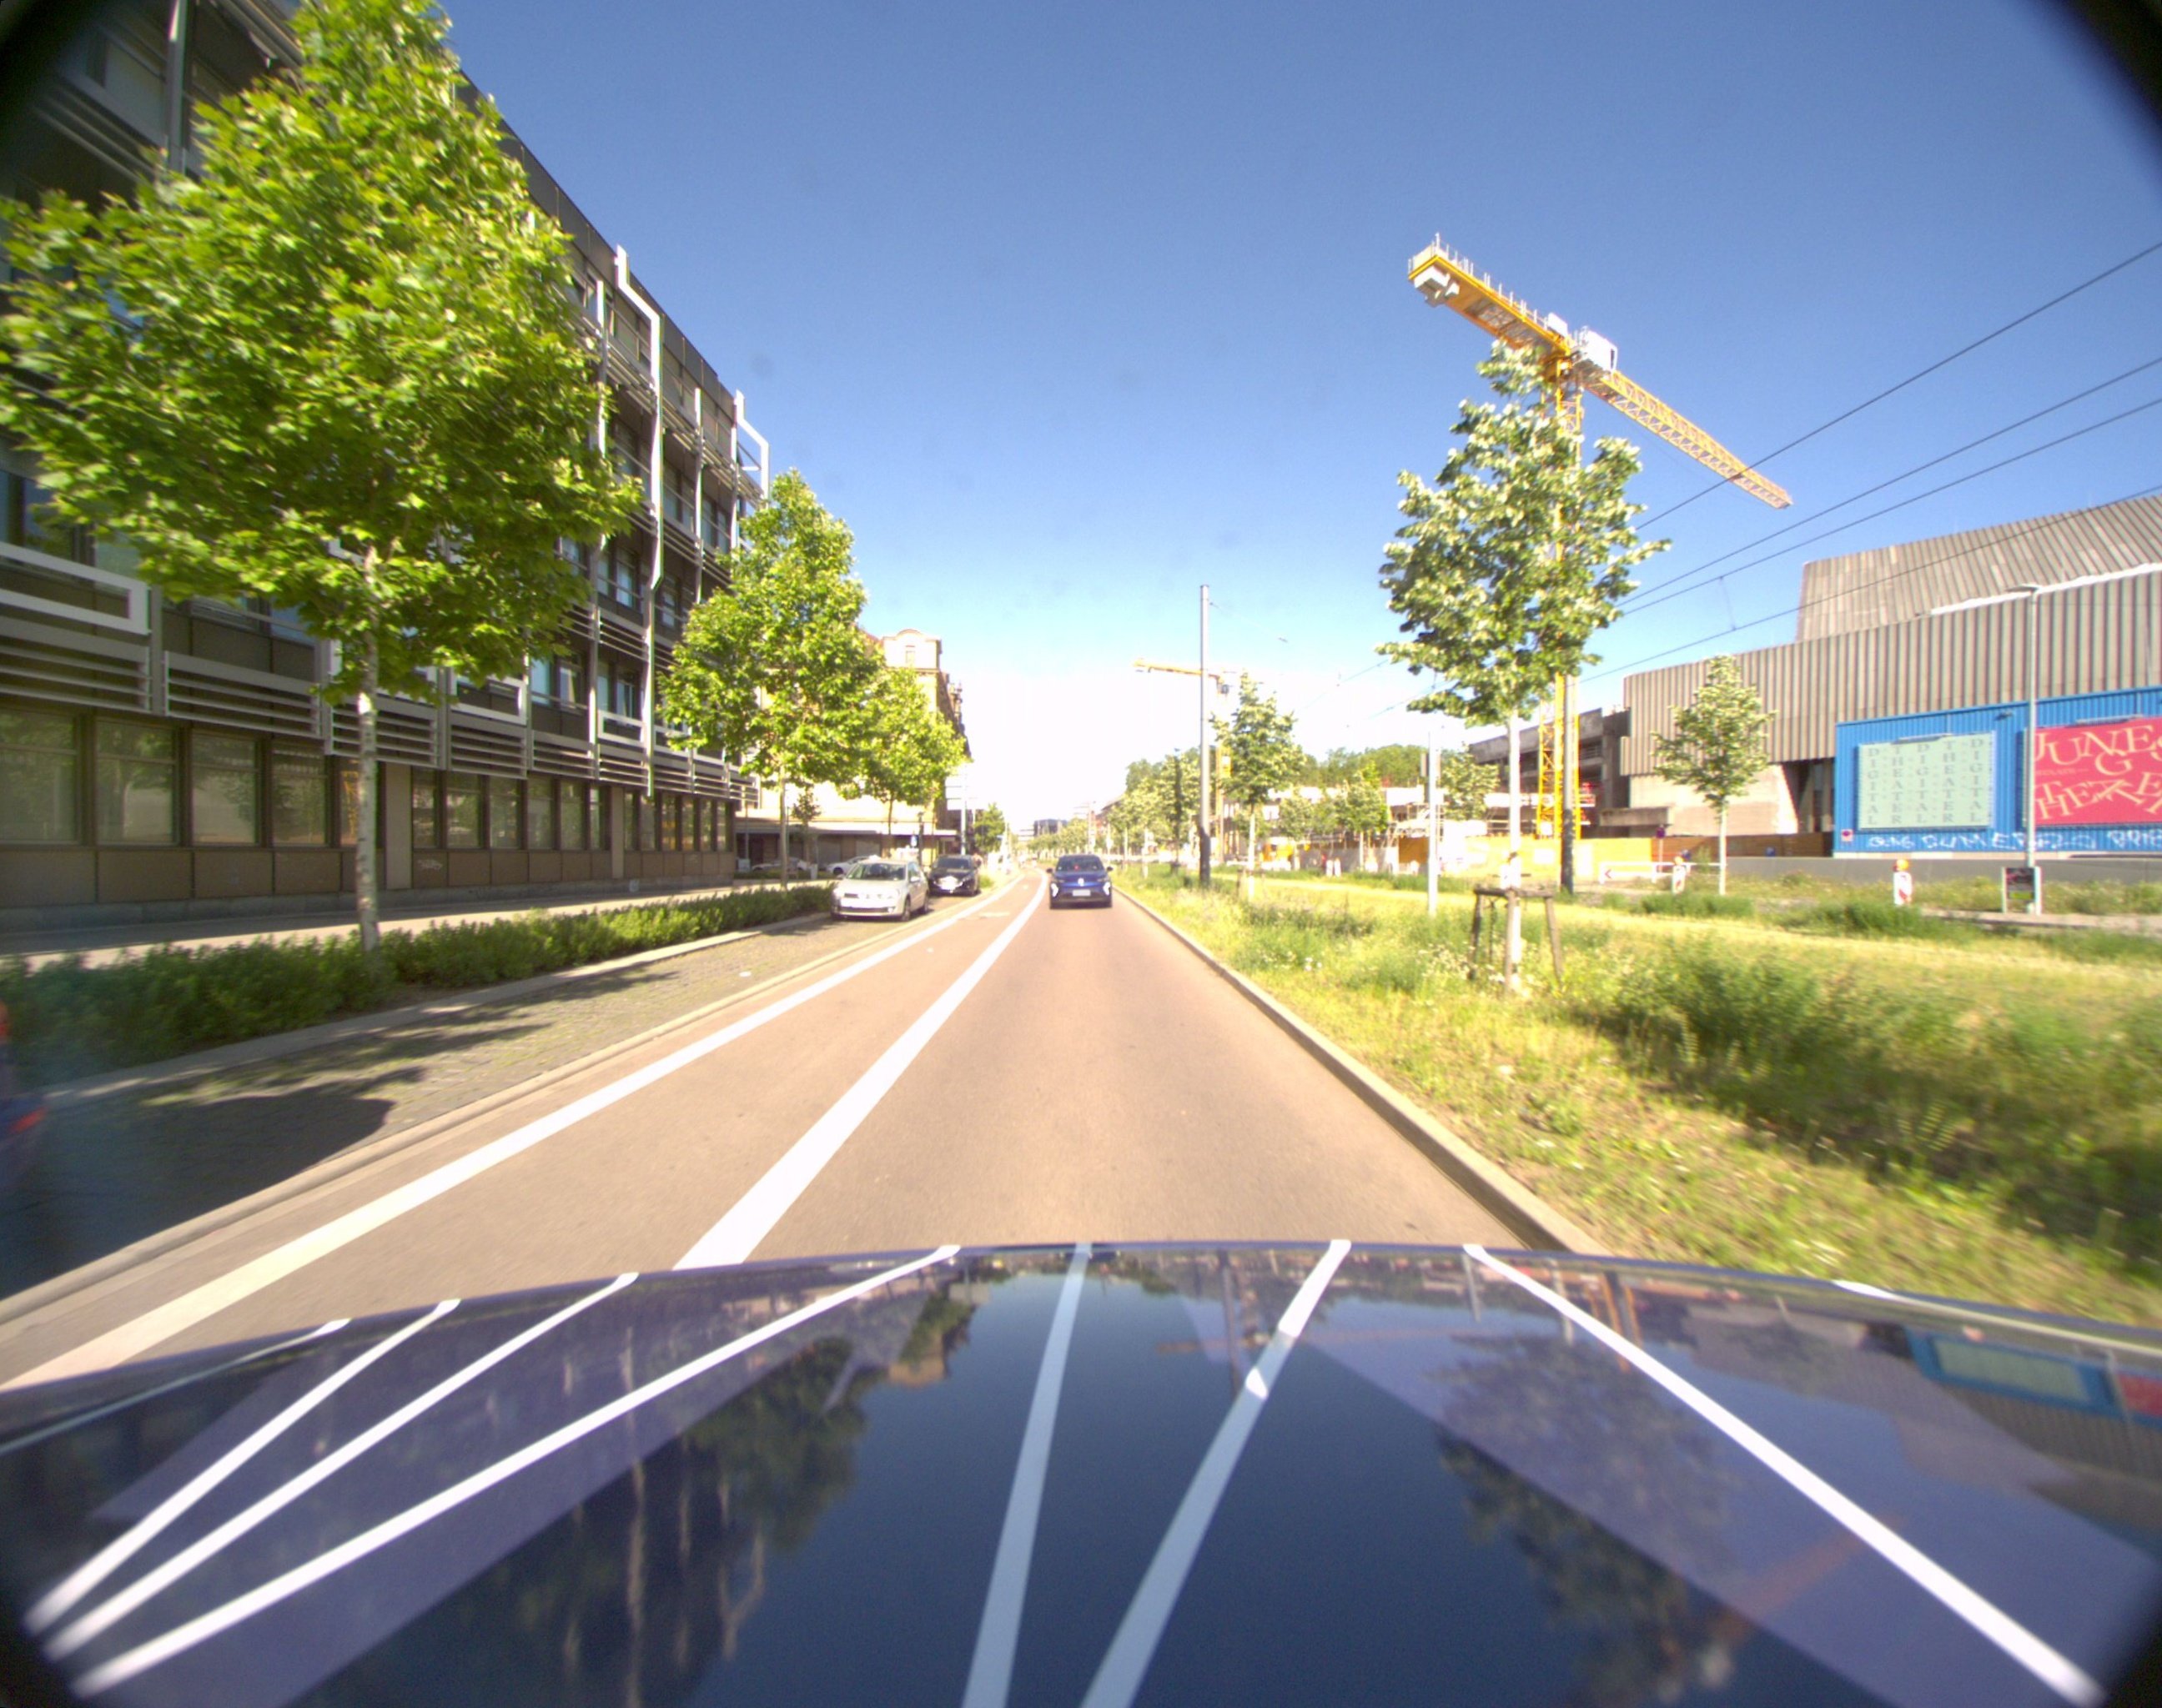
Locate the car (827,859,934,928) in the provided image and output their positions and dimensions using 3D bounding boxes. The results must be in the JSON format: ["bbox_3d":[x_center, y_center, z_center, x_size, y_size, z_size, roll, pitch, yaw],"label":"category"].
[{"bbox_3d":[-4.896,0.902,19.098,1.622,1.456,4.154,1,0,-1],"label":"car"}]

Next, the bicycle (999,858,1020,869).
[{"bbox_3d":[-7.256,0.950,77.316,2.055,1.113,0.602,2,1,-5],"label":"bicycle"}]

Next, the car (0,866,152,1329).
[{"bbox_3d":[-4.842,0.872,0.751,1.854,1.647,4.848,1,0,1],"label":"car"}]

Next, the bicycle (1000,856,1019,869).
[{"bbox_3d":[-7.547,0.888,80.146,1.870,1.244,0.691,2,1,-6],"label":"bicycle"}]

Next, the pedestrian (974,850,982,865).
[{"bbox_3d":[-11.605,0.399,85.842,0.753,1.575,0.808,2,0,-5],"label":"pedestrian"}]

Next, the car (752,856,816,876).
[{"bbox_3d":[-21.752,0.883,55.727,4.193,1.386,1.556,0,-1,-13],"label":"car"}]

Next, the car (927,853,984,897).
[{"bbox_3d":[-4.989,0.789,30.774,1.752,1.649,4.468,0,0,-3],"label":"car"}]

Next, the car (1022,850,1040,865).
[{"bbox_3d":[-6.726,0.443,103.087,1.822,1.783,4.000,-2,1,4],"label":"car"}]

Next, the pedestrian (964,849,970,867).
[{"bbox_3d":[-11.130,0.366,74.078,0.512,1.791,0.501,0,1,3],"label":"pedestrian"}]

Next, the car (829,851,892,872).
[{"bbox_3d":[-16.427,0.565,56.869,4.410,1.535,1.851,0,1,-13],"label":"car"}]

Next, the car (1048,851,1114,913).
[{"bbox_3d":[0.072,0.777,23.214,1.748,1.613,4.153,-3,0,2],"label":"car"}]

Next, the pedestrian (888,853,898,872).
[{"bbox_3d":[-14.407,0.634,58.333,0.683,1.442,0.543,0,1,-10],"label":"pedestrian"}]
